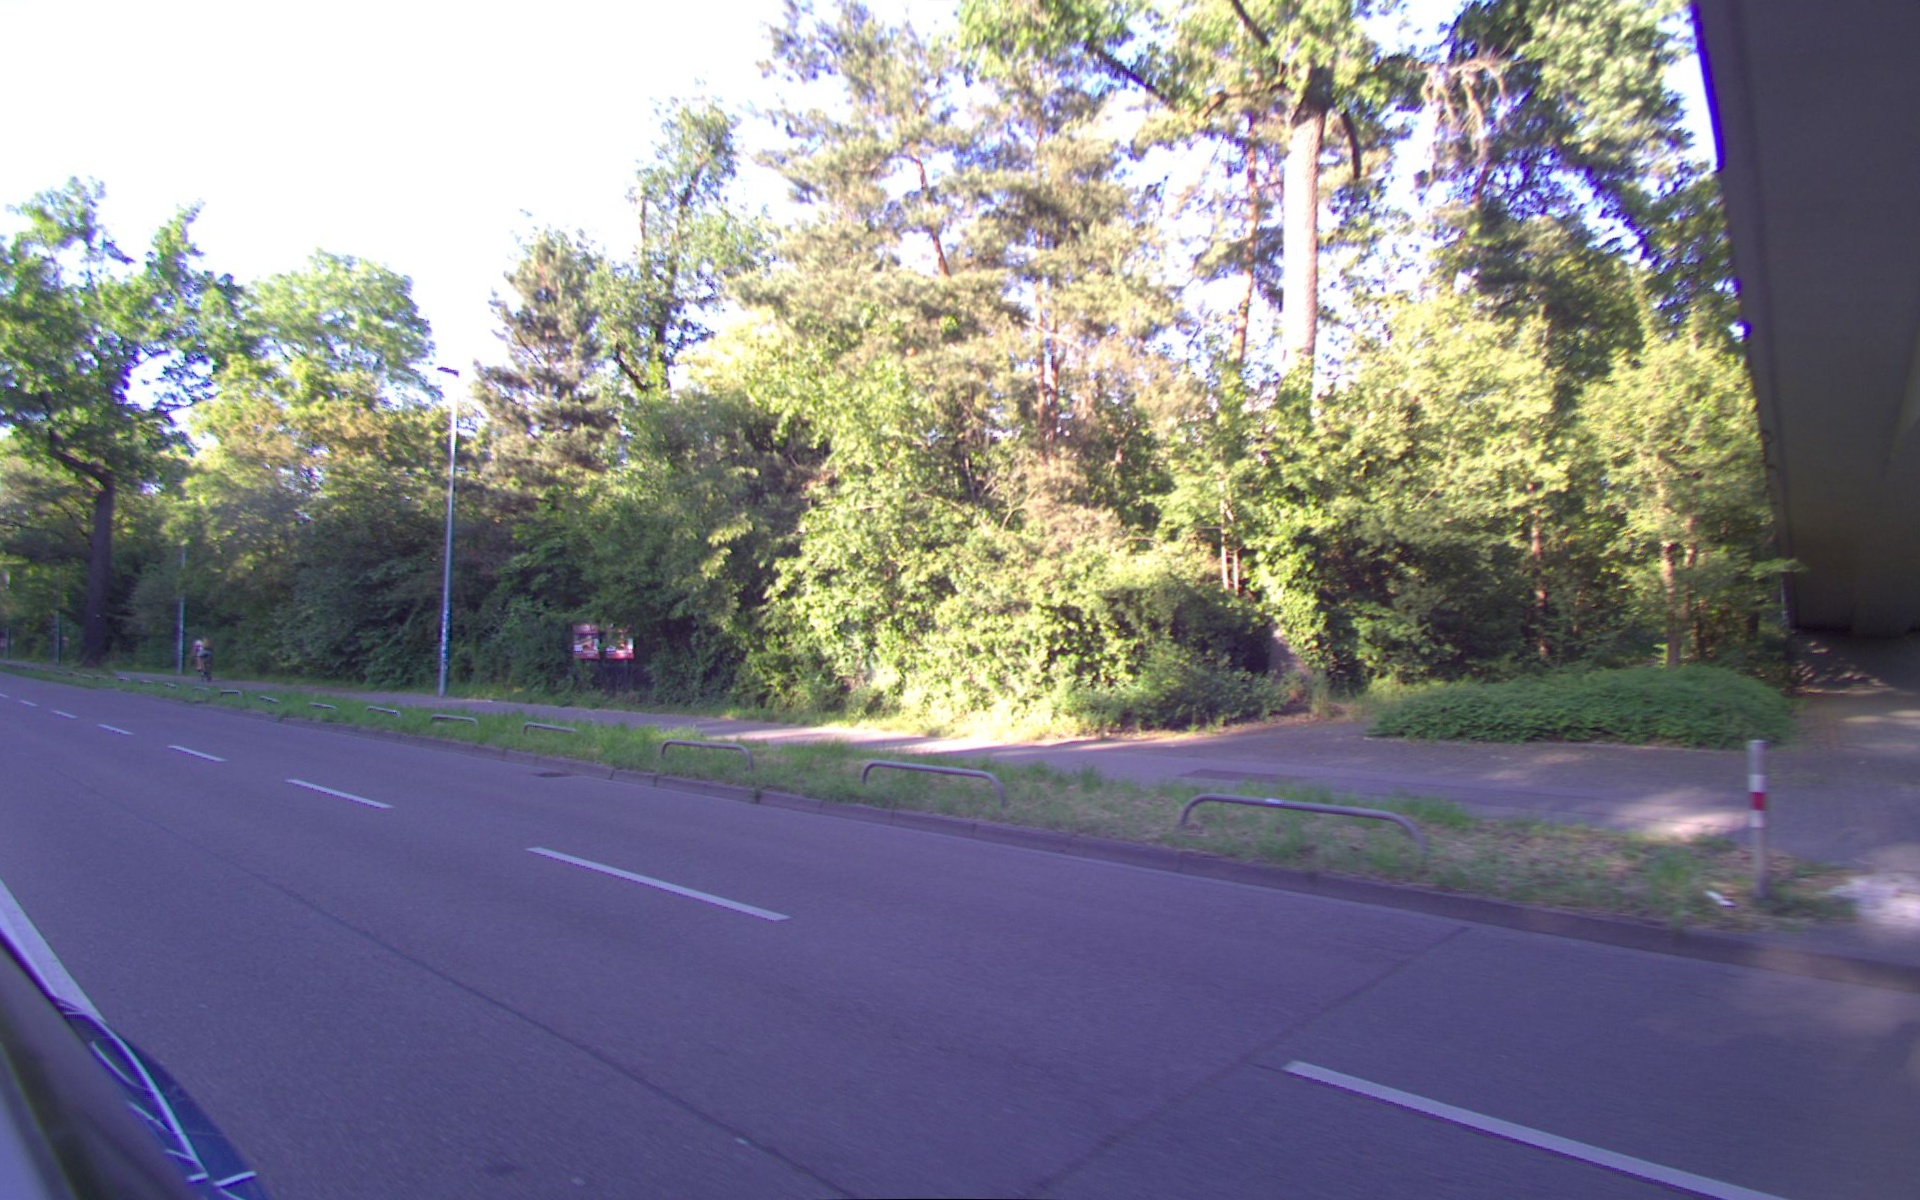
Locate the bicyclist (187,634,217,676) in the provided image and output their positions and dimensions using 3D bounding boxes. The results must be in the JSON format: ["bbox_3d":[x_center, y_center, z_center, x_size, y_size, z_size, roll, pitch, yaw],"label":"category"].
[{"bbox_3d":[-28.889,2.074,38.557,1.142,1.570,0.705,-2,-1,41],"label":"bicyclist"}]

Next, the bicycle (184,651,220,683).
[{"bbox_3d":[-28.885,2.542,38.545,1.992,1.156,0.705,-2,-1,41],"label":"bicycle"}]
